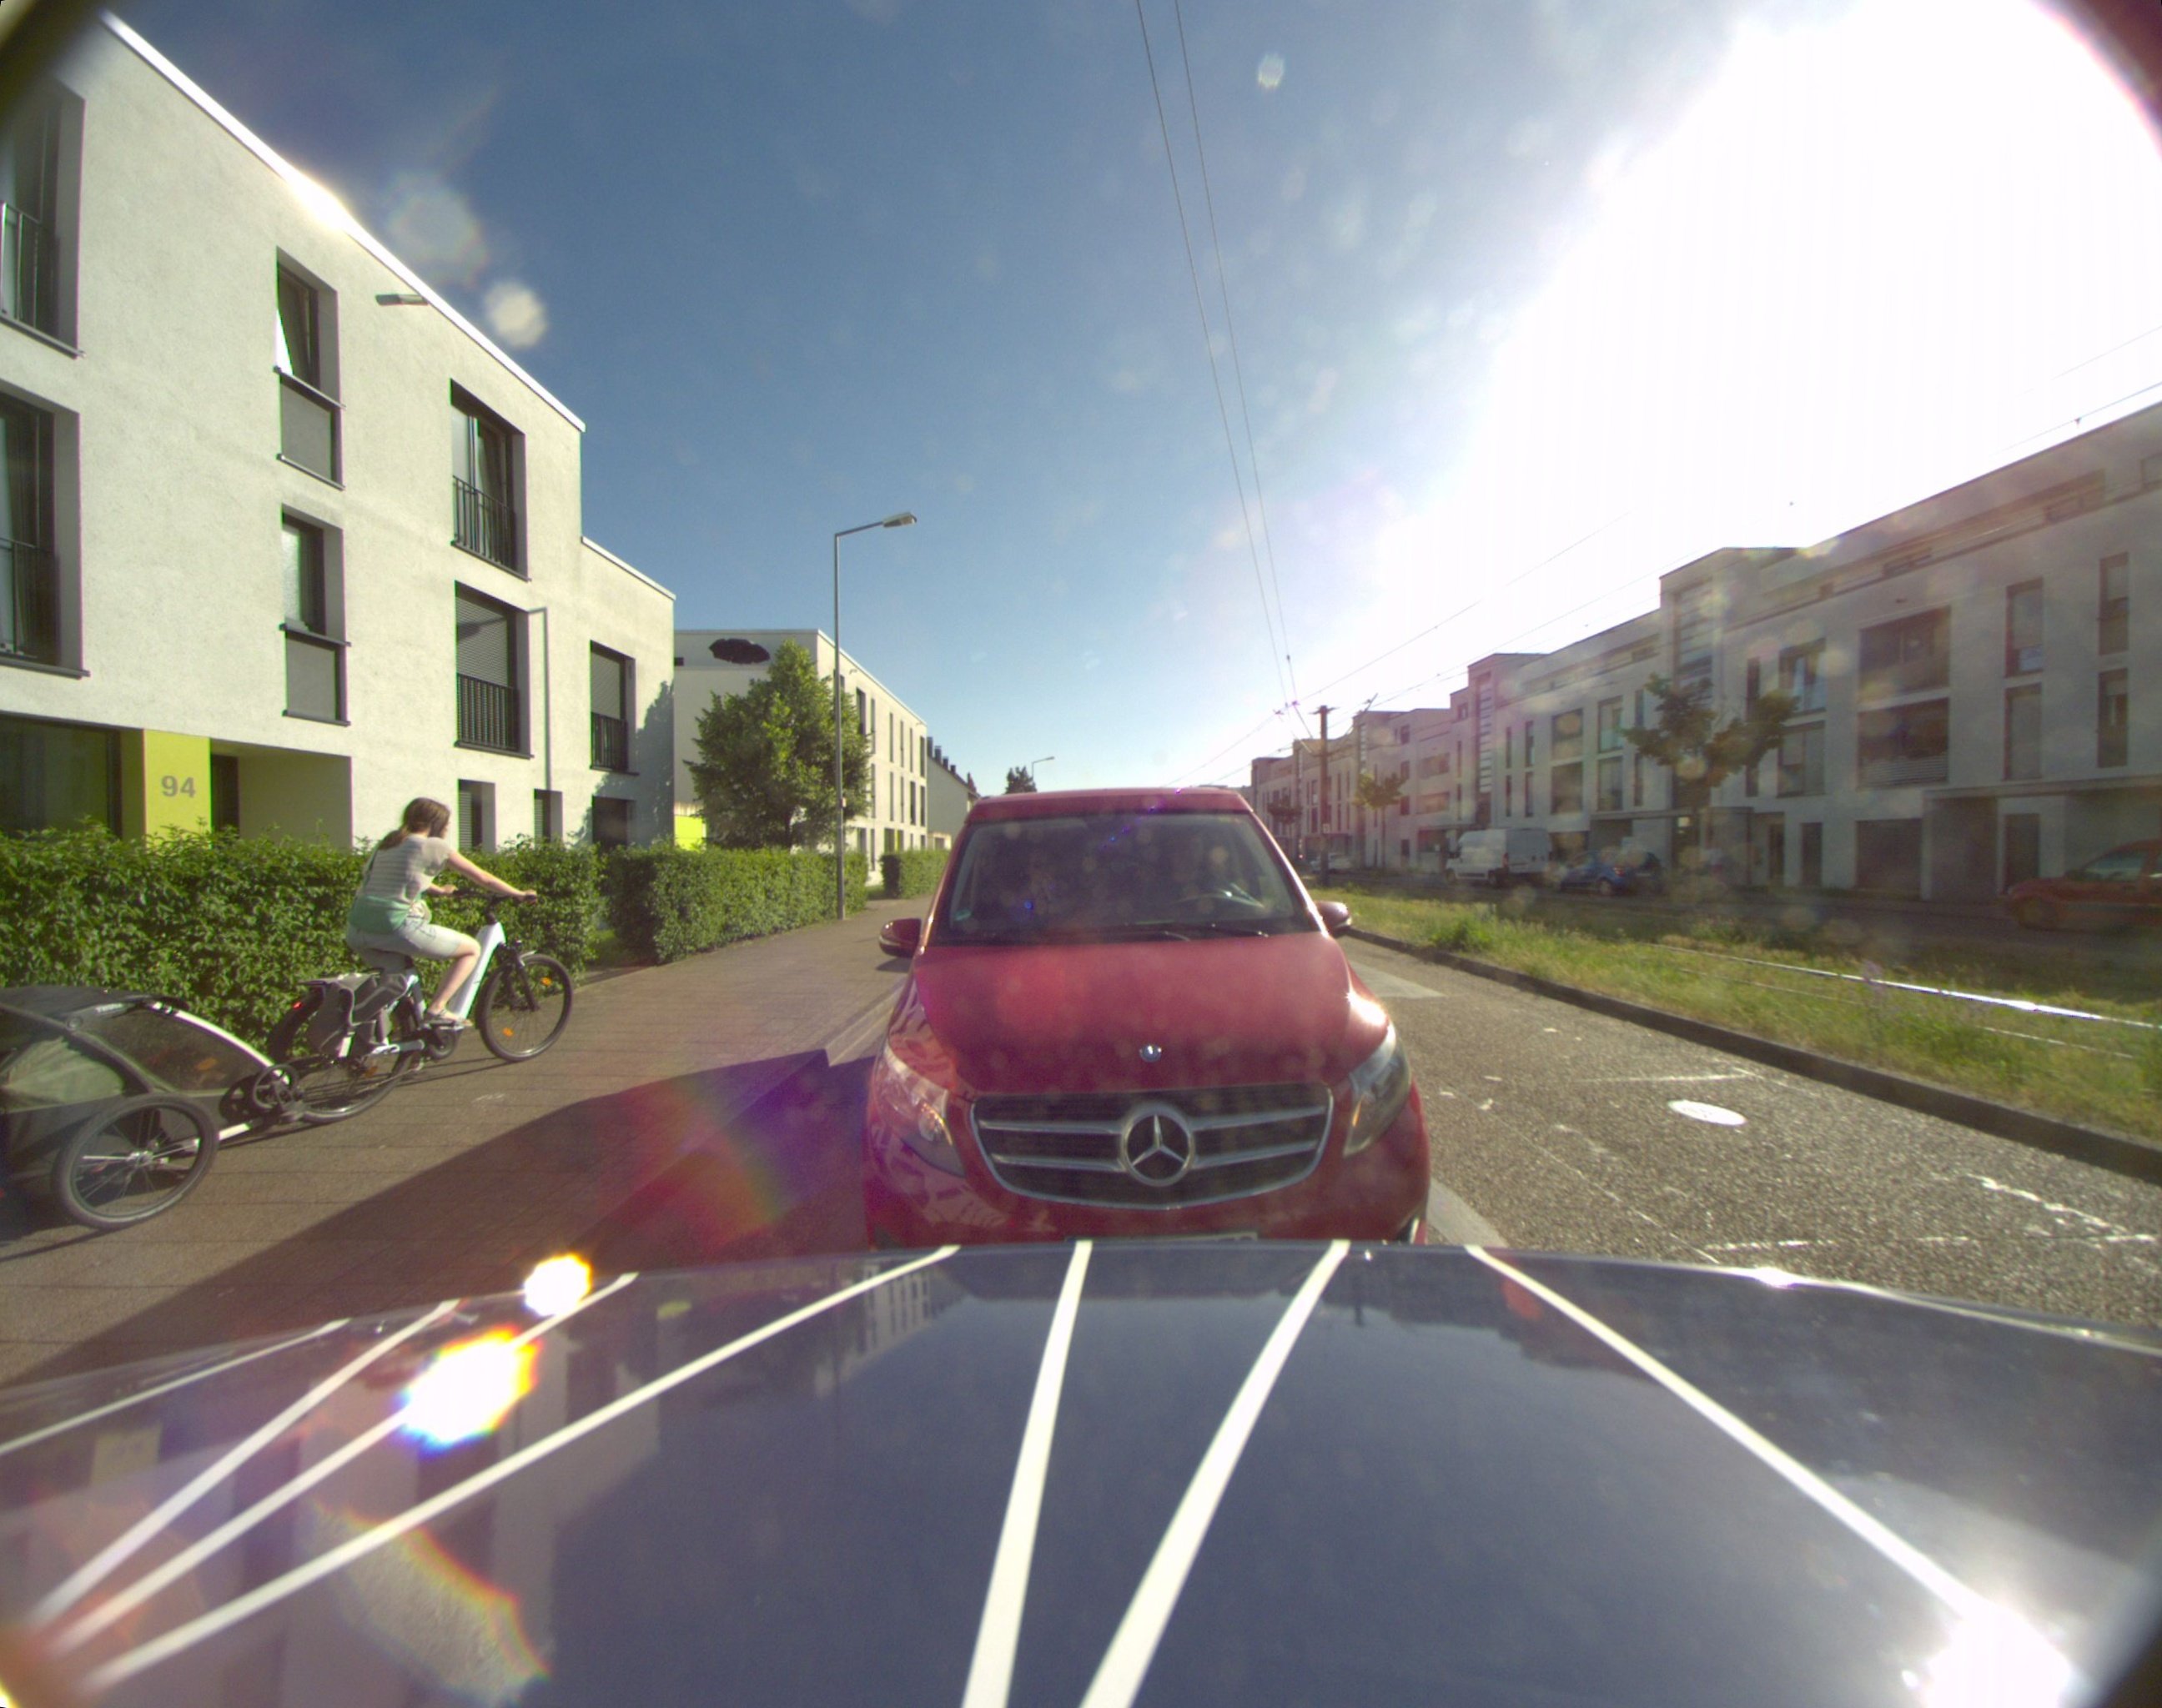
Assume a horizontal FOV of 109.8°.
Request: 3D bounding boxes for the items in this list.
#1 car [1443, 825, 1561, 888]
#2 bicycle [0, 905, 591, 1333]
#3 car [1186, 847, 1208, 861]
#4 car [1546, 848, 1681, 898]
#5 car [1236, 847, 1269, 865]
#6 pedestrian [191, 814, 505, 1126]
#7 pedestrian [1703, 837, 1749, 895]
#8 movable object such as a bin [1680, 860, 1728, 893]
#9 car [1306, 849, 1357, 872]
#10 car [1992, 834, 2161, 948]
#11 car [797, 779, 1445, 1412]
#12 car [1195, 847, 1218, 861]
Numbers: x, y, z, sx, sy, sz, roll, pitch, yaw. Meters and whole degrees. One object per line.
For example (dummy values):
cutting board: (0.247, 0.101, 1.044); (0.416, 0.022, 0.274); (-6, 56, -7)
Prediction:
car: (18.170, 0.085, 33.138); (2.225, 2.458, 5.195); (-2, 1, 0)
bicycle: (-4.032, 0.972, 3.990); (0.931, 1.166, 3.124); (0, 1, -1)
car: (15.189, -0.043, 99.625); (1.923, 1.671, 4.282); (-2, 1, -4)
car: (18.378, 0.586, 26.467); (1.999, 1.536, 3.835); (-2, 1, 0)
car: (16.720, 0.148, 74.322); (1.923, 1.671, 4.282); (-2, 1, -4)
pedestrian: (-4.040, 0.587, 4.285); (0.913, 1.585, 0.854); (0, 1, -2)
pedestrian: (20.838, 0.365, 24.551); (0.776, 1.812, 0.785); (-2, 1, 1)
movable object such as a bin: (20.895, 0.732, 25.497); (0.729, 1.048, 1.083); (-2, 1, 1)
car: (17.636, 0.428, 53.707); (1.923, 1.497, 4.282); (-2, 1, -4)
car: (18.618, 0.588, 12.776); (1.998, 1.817, 3.895); (-2, 1, 3)
car: (0.154, 0.709, 4.527); (1.874, 1.843, 4.506); (-2, 1, 1)
car: (15.476, -0.021, 93.873); (1.923, 1.671, 4.282); (-2, 1, -4)
